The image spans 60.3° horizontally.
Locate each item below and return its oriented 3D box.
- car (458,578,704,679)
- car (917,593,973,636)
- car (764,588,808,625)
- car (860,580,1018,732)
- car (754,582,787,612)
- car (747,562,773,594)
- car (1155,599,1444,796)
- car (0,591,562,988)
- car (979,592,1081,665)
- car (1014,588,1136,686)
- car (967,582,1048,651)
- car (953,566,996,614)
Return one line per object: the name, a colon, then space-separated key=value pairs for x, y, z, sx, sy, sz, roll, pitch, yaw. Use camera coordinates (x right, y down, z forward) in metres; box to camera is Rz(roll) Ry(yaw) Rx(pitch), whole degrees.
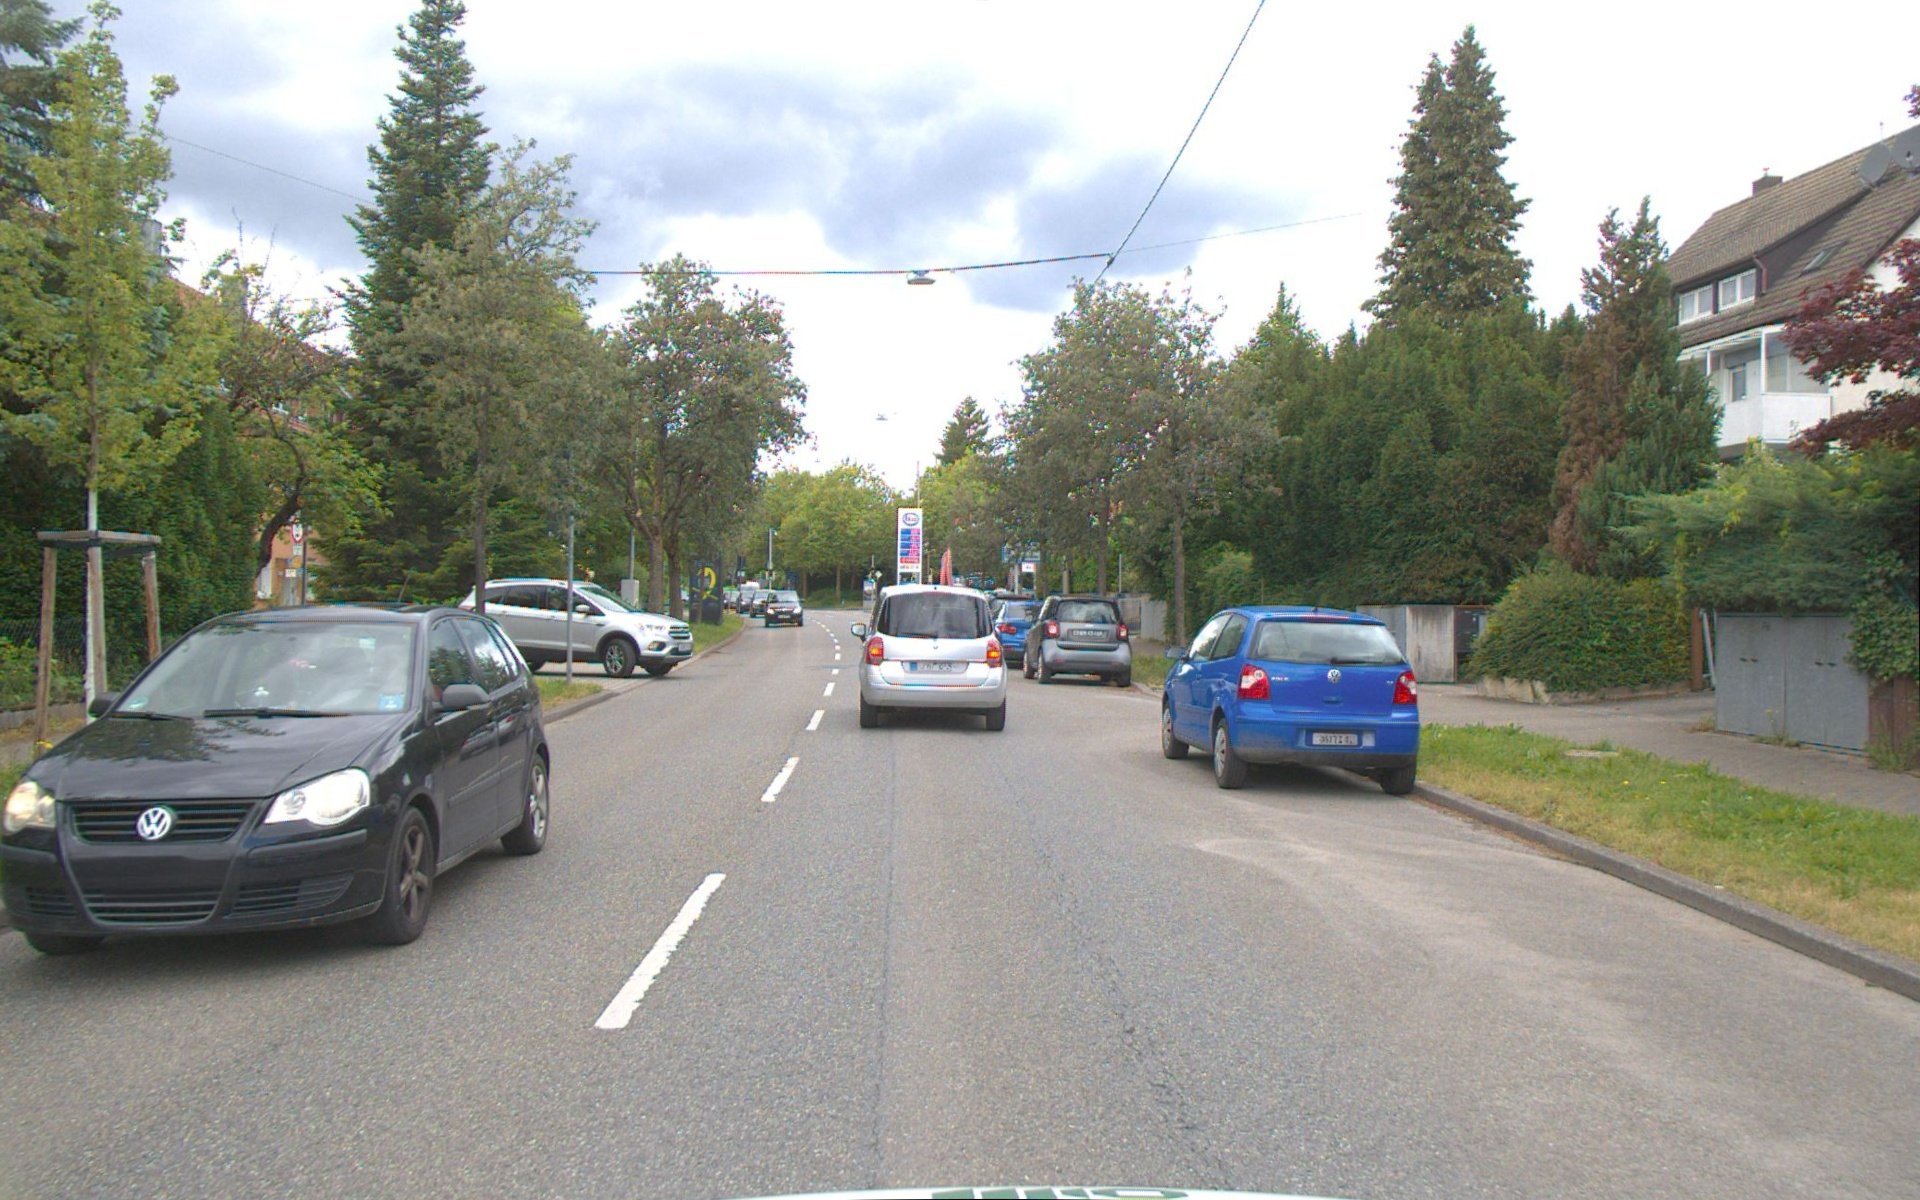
car: x=-6.882 y=0.484 z=30.176 sx=3.999 sy=1.736 sz=1.749 roll=1 pitch=0 yaw=14
car: x=-0.587 y=0.512 z=61.413 sx=1.663 sy=1.532 sz=3.966 roll=1 pitch=0 yaw=-7
car: x=-7.387 y=0.273 z=69.912 sx=1.517 sy=1.496 sz=3.732 roll=-1 pitch=0 yaw=-11
car: x=-0.277 y=0.589 z=19.359 sx=1.645 sy=1.587 sz=3.510 roll=1 pitch=0 yaw=-2
car: x=-10.616 y=-0.164 z=92.817 sx=1.759 sy=1.582 sz=3.667 roll=-2 pitch=1 yaw=-6
car: x=-15.542 y=-1.723 z=128.584 sx=1.897 sy=2.450 sz=3.994 roll=1 pitch=0 yaw=-7
car: x=2.864 y=0.758 z=14.744 sx=1.594 sy=1.477 sz=3.874 roll=1 pitch=0 yaw=-3
car: x=-3.088 y=0.721 z=8.144 sx=1.543 sy=1.498 sz=3.469 roll=-1 pitch=0 yaw=-3
car: x=1.447 y=0.569 z=35.652 sx=1.663 sy=1.458 sz=4.336 roll=1 pitch=0 yaw=-5
car: x=2.040 y=0.619 z=30.359 sx=1.662 sy=1.584 sz=3.953 roll=3 pitch=0 yaw=-4
car: x=1.124 y=0.373 z=40.828 sx=1.661 sy=1.598 sz=3.953 roll=1 pitch=0 yaw=-4
car: x=0.918 y=-0.652 z=106.861 sx=2.237 sy=2.962 sz=5.274 roll=2 pitch=0 yaw=-5
